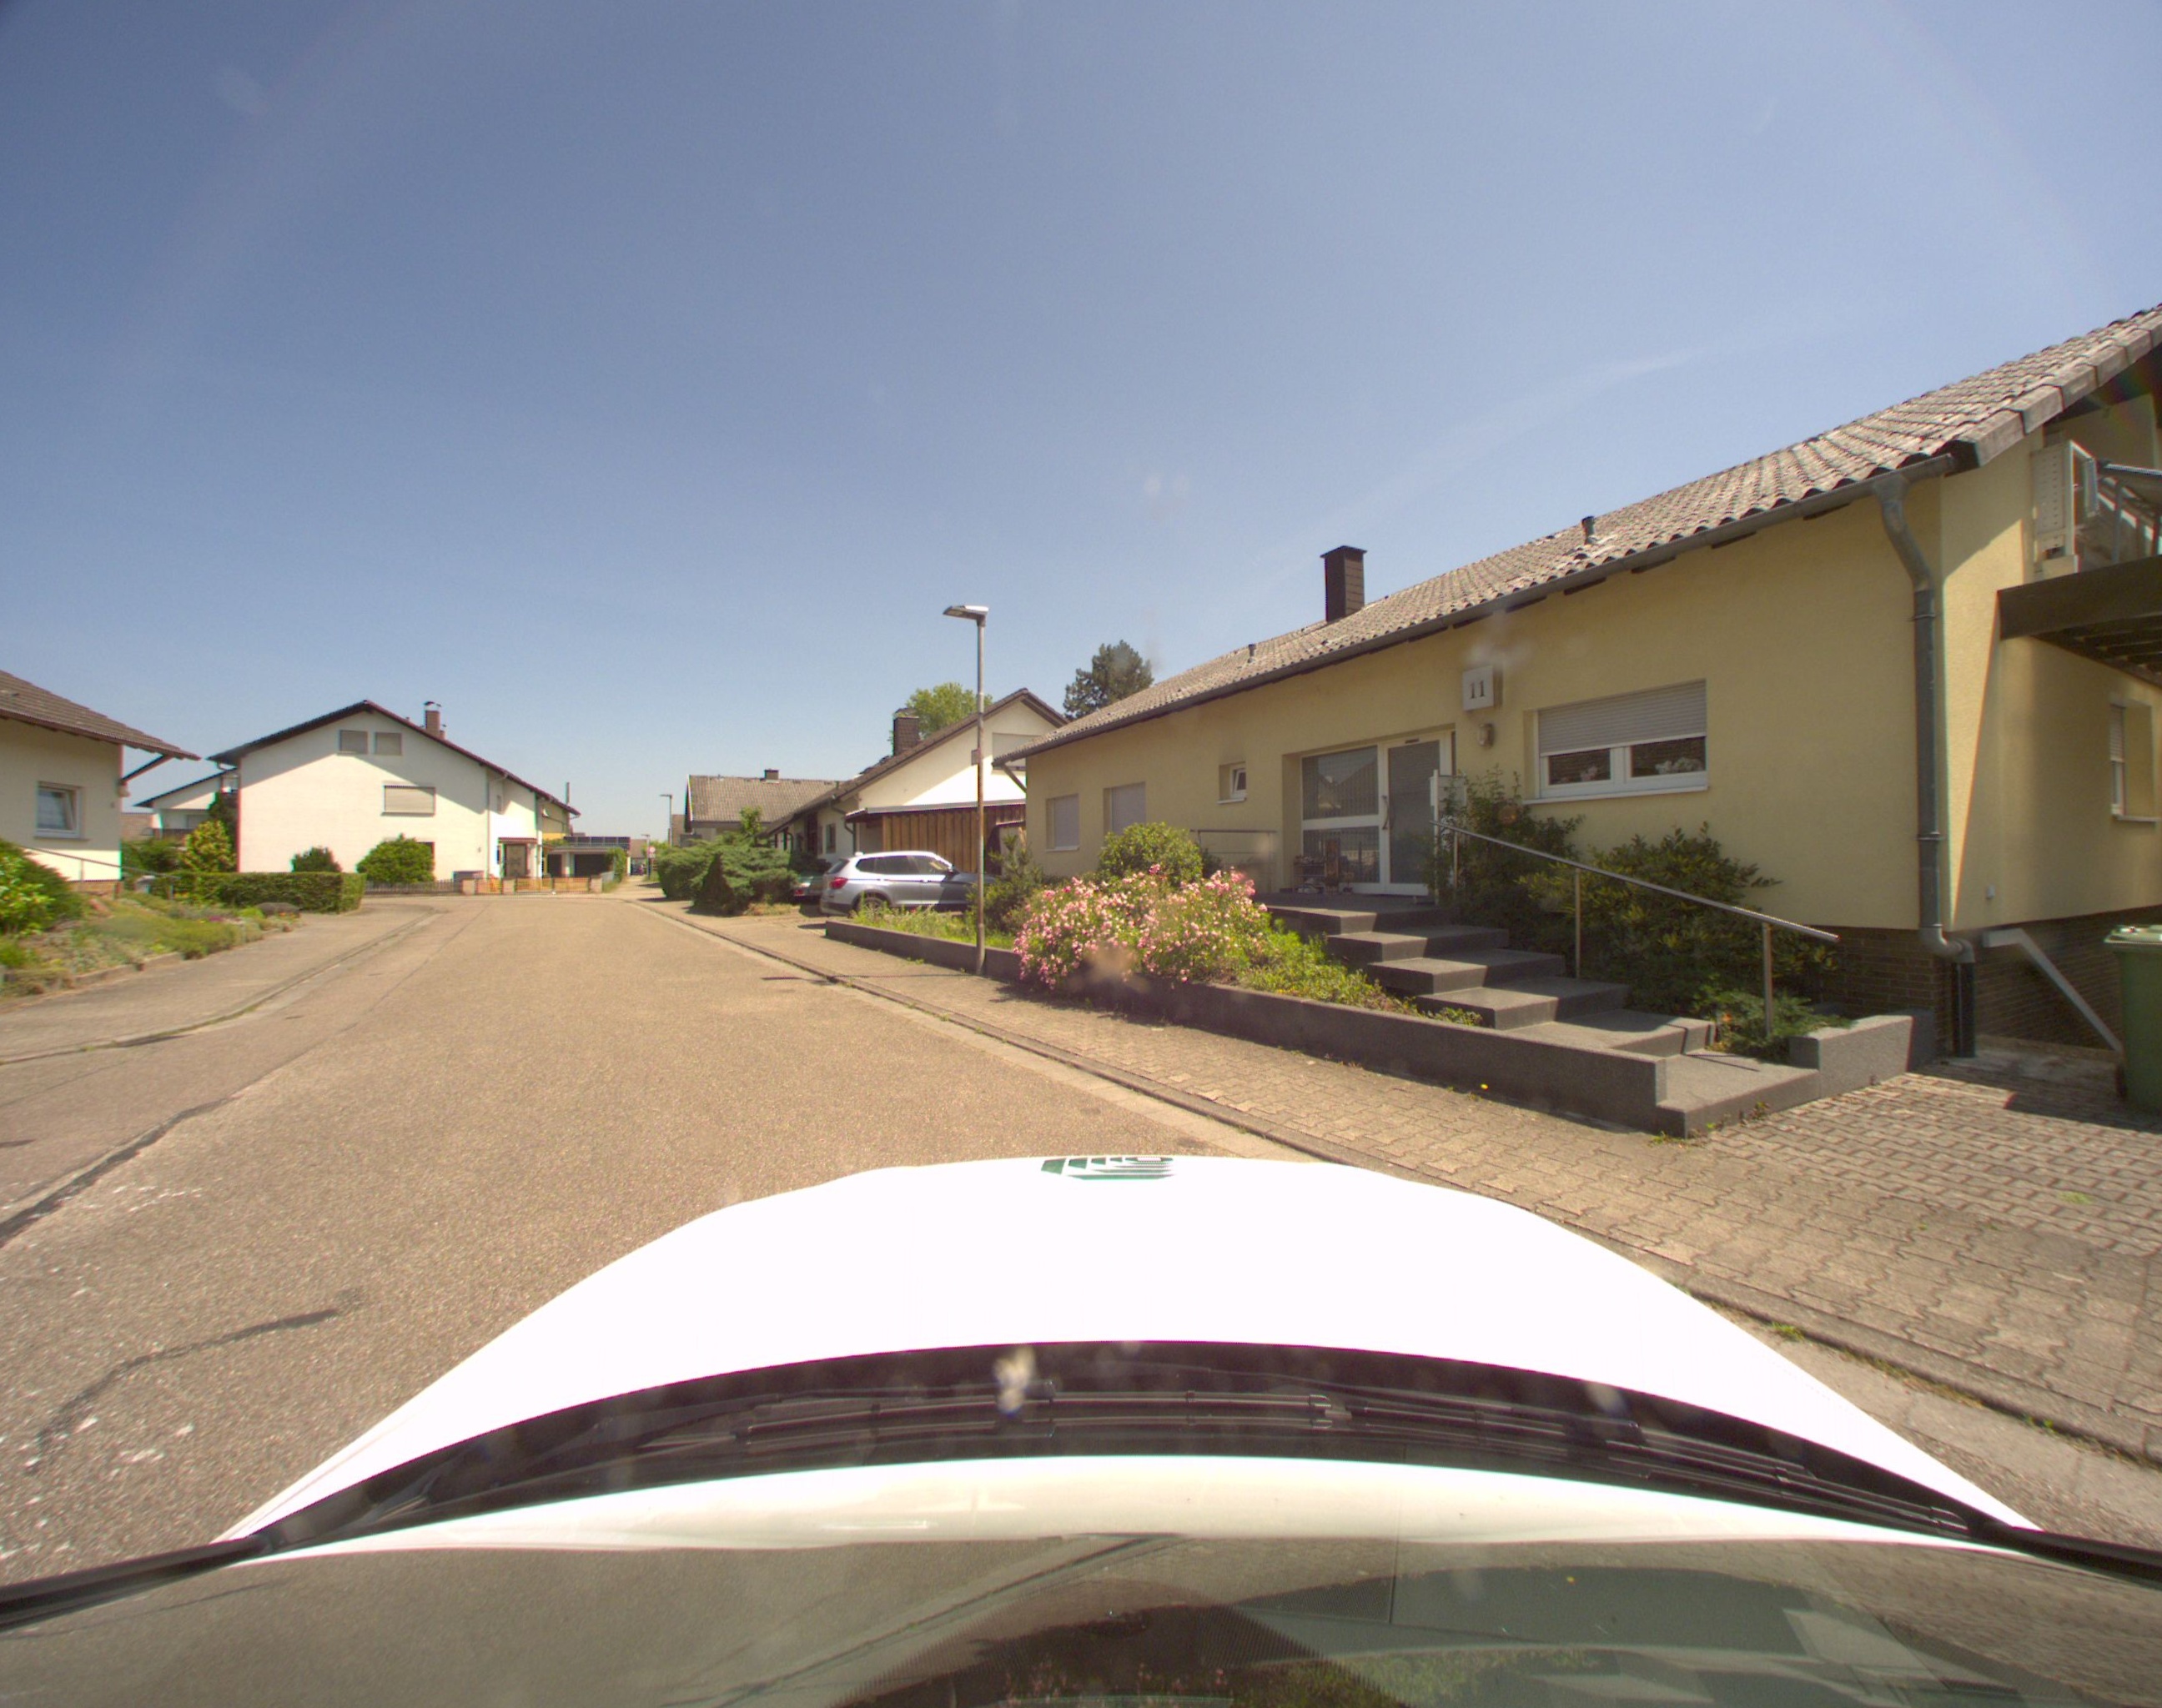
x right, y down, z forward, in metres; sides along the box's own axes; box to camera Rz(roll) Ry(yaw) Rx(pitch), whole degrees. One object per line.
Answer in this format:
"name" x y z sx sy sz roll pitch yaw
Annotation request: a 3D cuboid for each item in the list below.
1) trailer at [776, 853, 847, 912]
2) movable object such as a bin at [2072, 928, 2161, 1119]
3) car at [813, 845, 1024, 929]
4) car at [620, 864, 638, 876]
"trailer" -8.517 0.832 25.563 1.596 1.672 3.267 -2 1 -27
"movable object such as a bin" 6.340 0.987 4.787 0.494 1.041 0.586 0 -2 -35
"car" -3.868 0.713 19.503 4.650 1.702 1.695 -2 0 -25
"car" -69.747 2.493 125.695 2.206 1.701 3.773 -1 0 -27
